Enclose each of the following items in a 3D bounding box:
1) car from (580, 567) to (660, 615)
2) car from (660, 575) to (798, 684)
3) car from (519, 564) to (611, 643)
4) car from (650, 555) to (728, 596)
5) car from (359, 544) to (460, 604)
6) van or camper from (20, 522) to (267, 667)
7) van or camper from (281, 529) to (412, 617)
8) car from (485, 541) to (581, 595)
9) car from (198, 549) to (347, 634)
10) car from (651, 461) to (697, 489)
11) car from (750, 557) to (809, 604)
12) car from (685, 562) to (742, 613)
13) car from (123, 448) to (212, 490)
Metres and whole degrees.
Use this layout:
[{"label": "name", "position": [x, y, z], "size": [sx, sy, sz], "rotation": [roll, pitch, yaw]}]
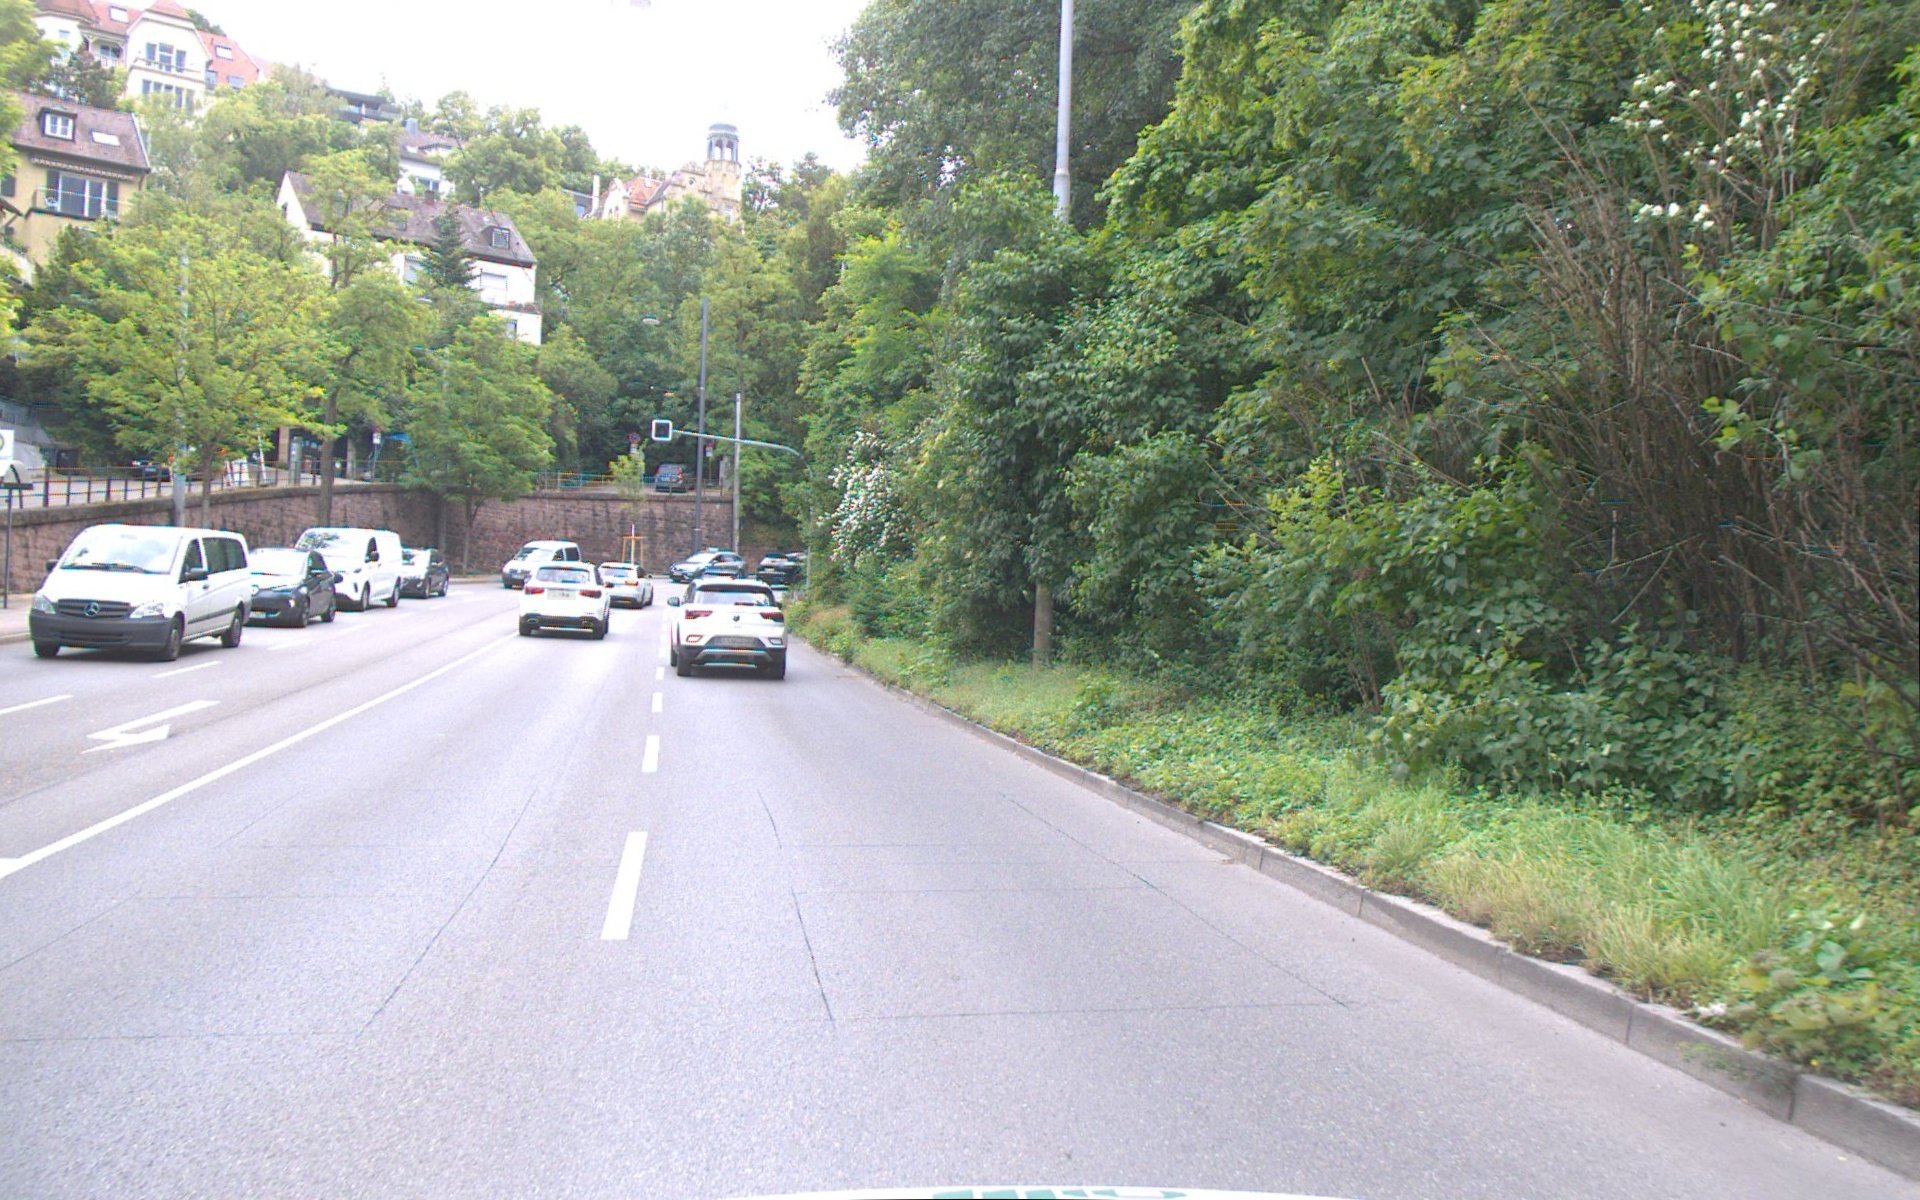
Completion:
[{"label": "car", "position": [-11.758, -0.333, 57.441], "size": [2.204, 1.545, 4.303], "rotation": [1, 1, -5]}, {"label": "car", "position": [-3.936, 0.443, 27.665], "size": [1.833, 1.583, 3.881], "rotation": [3, 1, -14]}, {"label": "car", "position": [-8.912, 0.070, 37.600], "size": [1.843, 1.681, 4.329], "rotation": [0, 0, -11]}, {"label": "car", "position": [-12.459, -1.121, 76.328], "size": [1.905, 1.722, 4.289], "rotation": [4, 1, 14]}, {"label": "car", "position": [-17.171, -0.850, 51.762], "size": [1.955, 1.645, 4.325], "rotation": [5, 1, -6]}, {"label": "van or camper", "position": [-12.362, -0.108, 25.477], "size": [1.958, 1.928, 5.443], "rotation": [2, 0, -11]}, {"label": "van or camper", "position": [-15.683, -0.696, 42.582], "size": [1.956, 2.048, 5.552], "rotation": [2, 1, -8]}, {"label": "car", "position": [-16.504, -1.210, 64.189], "size": [1.904, 1.829, 4.289], "rotation": [5, 1, 10]}, {"label": "car", "position": [-14.177, -0.200, 34.337], "size": [1.957, 1.547, 3.981], "rotation": [3, 1, -10]}, {"label": "car", "position": [-16.375, -7.158, 94.908], "size": [1.953, 1.511, 4.002], "rotation": [2, 4, 0]}, {"label": "car", "position": [-8.190, -0.859, 75.312], "size": [2.144, 2.049, 4.000], "rotation": [-1, 0, 1]}, {"label": "car", "position": [-8.420, -0.416, 56.690], "size": [1.826, 1.660, 3.952], "rotation": [-1, 0, -7]}, {"label": "car", "position": [-29.536, -4.875, 61.759], "size": [1.519, 1.302, 3.600], "rotation": [0, 1, 1]}]
